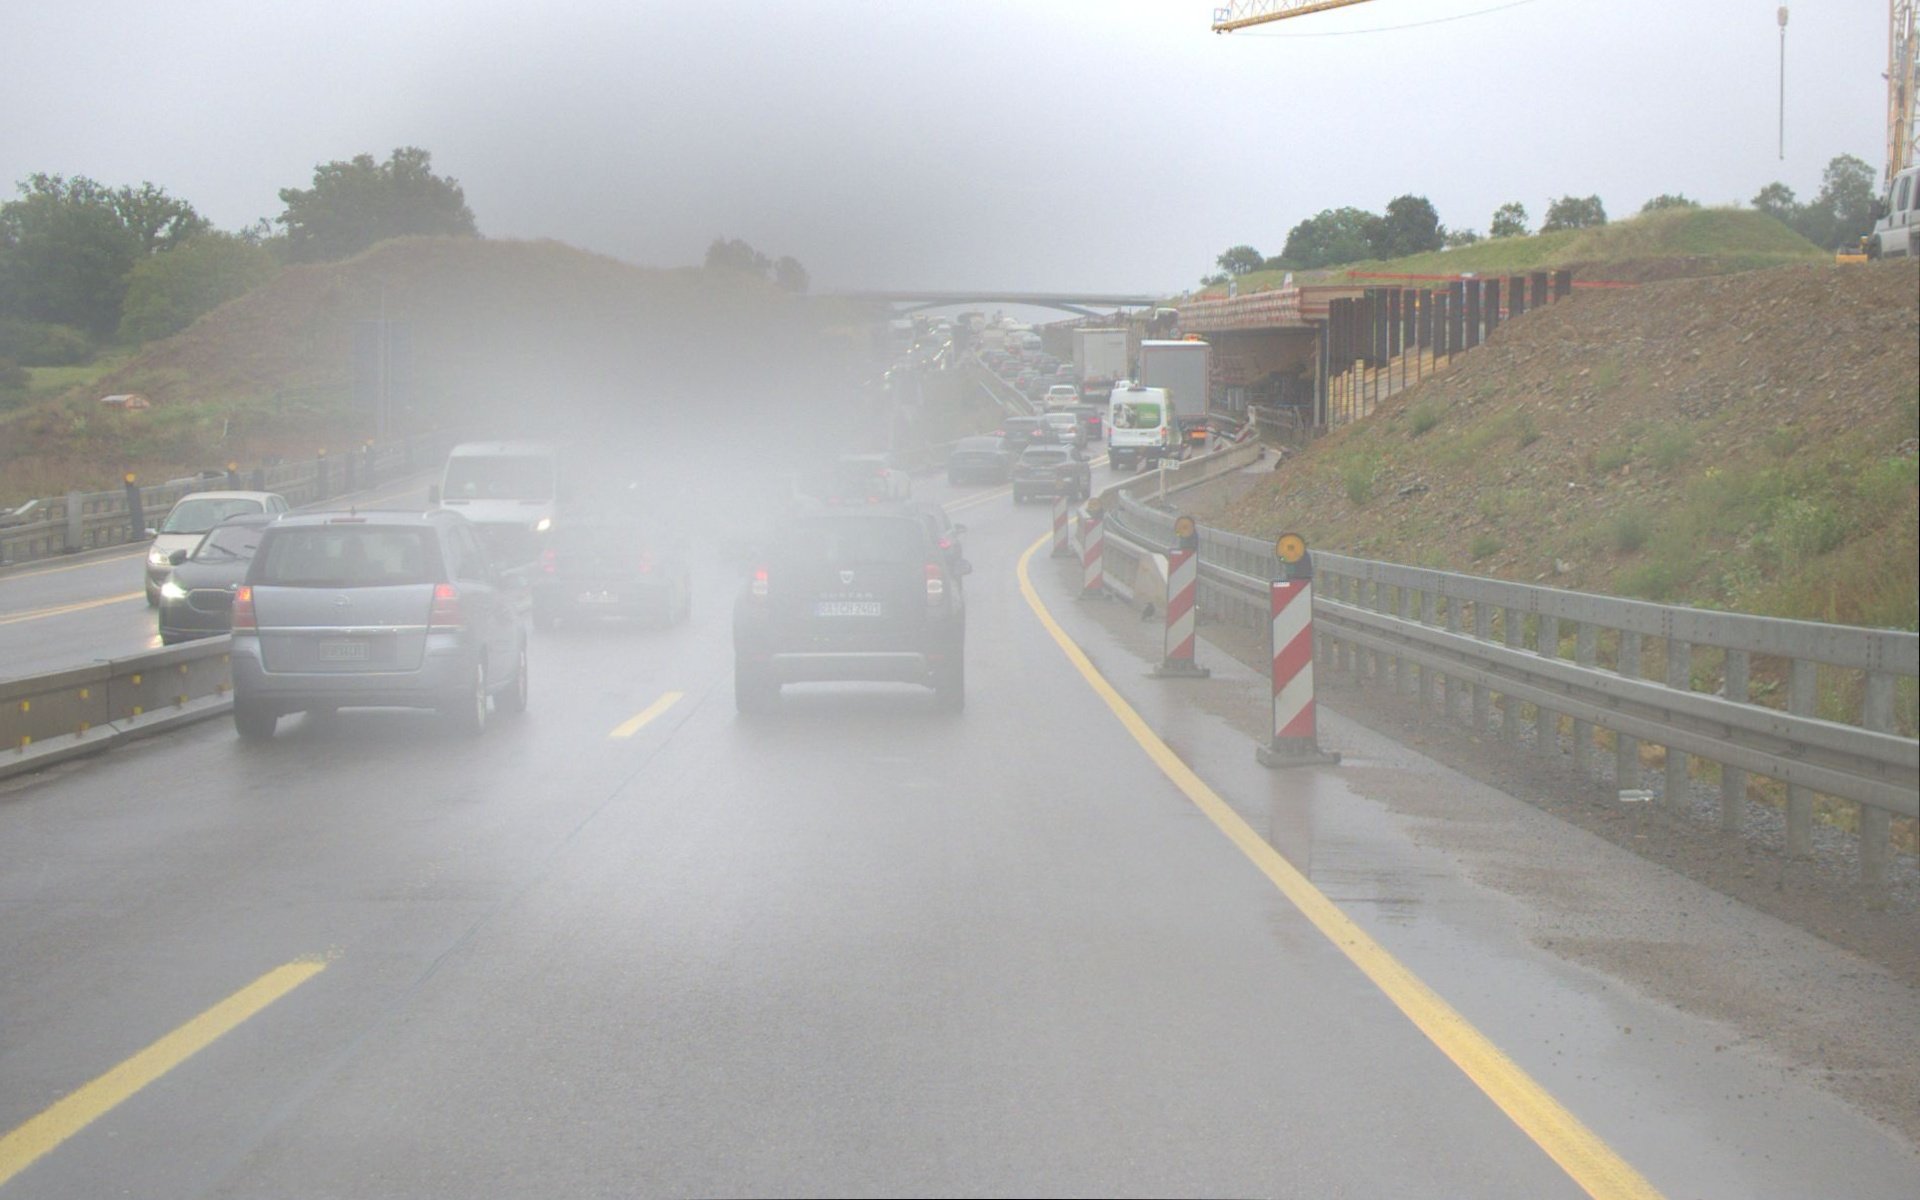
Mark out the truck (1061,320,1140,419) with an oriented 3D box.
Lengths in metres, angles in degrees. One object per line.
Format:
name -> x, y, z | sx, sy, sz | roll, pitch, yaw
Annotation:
truck -> 7.982, -13.154, 197.603 | 3.803, 5.025, 12.922 | 0, 1, -1

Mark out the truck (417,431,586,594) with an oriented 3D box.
truck -> -7.515, -1.415, 56.922 | 2.078, 2.567, 5.962 | 0, 1, -1

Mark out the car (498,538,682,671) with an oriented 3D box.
car -> -4.605, 0.026, 43.335 | 1.993, 1.595, 4.141 | 0, 1, -2

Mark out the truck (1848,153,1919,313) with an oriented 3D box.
truck -> 18.512, -6.761, 62.821 | 2.645, 2.546, 6.985 | 0, 1, -1

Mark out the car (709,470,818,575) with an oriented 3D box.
car -> -3.846, -1.506, 67.806 | 1.993, 2.007, 3.894 | 0, 1, -1

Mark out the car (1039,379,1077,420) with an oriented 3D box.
car -> 4.972, -10.188, 175.075 | 1.849, 1.887, 4.021 | 0, 1, 1

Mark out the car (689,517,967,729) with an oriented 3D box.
car -> -0.993, 0.147, 28.027 | 2.081, 1.595, 4.141 | 0, 1, 0

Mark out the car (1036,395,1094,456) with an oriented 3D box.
car -> 4.017, -6.646, 131.216 | 1.994, 2.155, 4.140 | 0, 1, 5

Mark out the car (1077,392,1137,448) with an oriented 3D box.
car -> 6.062, -7.380, 141.439 | 1.994, 2.155, 4.139 | 0, 1, 9

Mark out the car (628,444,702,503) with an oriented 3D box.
car -> -7.897, -3.407, 92.304 | 1.676, 1.518, 4.346 | -1, 2, -1

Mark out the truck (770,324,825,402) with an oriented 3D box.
truck -> -10.609, -15.480, 225.239 | 3.083, 4.902, 8.565 | 0, 3, 1

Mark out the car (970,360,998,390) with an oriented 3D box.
car -> 1.782, -16.762, 255.909 | 1.993, 2.007, 4.000 | 0, 1, -1

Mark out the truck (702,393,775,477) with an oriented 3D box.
truck -> -7.344, -5.487, 114.650 | 2.147, 2.704, 6.017 | 0, 2, -1

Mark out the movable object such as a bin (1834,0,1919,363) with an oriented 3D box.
movable object such as a bin -> 30.421, -13.288, 109.992 | 4.721, 10.805, 10.297 | 0, 1, 14

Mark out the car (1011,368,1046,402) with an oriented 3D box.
car -> 4.267, -13.404, 214.426 | 1.993, 2.006, 4.001 | -1, 2, -1

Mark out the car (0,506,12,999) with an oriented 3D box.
car -> -3.965, 0.546, 9.083 | 1.816, 1.595, 4.308 | 0, 1, -1

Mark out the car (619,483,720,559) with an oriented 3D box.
car -> -6.079, -1.678, 72.335 | 1.787, 1.533, 4.312 | -1, 2, 0

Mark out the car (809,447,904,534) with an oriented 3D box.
car -> -2.636, -2.797, 88.604 | 1.994, 2.155, 4.140 | 0, 1, 5

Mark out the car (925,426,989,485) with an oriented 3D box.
car -> -0.075, -4.508, 107.808 | 1.993, 1.755, 3.815 | 0, 1, 1

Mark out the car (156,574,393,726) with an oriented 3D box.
car -> -7.589, 0.506, 38.465 | 1.772, 1.499, 4.679 | -1, 1, -1

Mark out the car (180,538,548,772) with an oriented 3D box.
car -> -4.316, 0.347, 25.548 | 1.993, 1.595, 4.141 | 0, 1, 0

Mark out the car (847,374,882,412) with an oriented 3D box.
car -> -5.125, -11.111, 184.651 | 1.785, 1.803, 4.499 | 0, 1, 0

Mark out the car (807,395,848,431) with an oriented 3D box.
car -> -6.282, -8.921, 163.810 | 1.737, 1.678, 5.553 | 0, 3, 0

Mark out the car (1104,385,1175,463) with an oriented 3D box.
car -> 6.134, -5.952, 116.831 | 1.994, 2.475, 4.980 | 0, 1, 8

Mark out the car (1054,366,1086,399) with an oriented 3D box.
car -> 7.467, -14.730, 233.206 | 1.993, 2.007, 4.000 | 0, 1, -1

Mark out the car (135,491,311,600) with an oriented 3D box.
car -> -10.843, -0.835, 50.851 | 1.788, 1.541, 4.001 | 0, 2, -1

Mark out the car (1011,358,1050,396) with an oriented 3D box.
car -> 3.904, -12.344, 190.657 | 1.993, 2.006, 4.001 | -1, 2, -1

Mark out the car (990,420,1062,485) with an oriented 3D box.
car -> 2.326, -5.141, 120.085 | 1.994, 2.155, 4.139 | 0, 1, 8

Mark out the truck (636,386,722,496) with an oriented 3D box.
truck -> -10.430, -5.972, 128.289 | 2.641, 3.956, 9.215 | 0, 3, -1

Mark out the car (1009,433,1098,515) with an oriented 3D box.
car -> 2.627, -3.472, 95.496 | 1.994, 2.155, 4.139 | 0, 1, 8

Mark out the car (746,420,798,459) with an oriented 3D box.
car -> -7.170, -6.135, 131.617 | 1.868, 1.466, 4.672 | 0, 3, -1

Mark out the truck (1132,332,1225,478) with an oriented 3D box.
truck -> 8.741, -7.645, 136.780 | 3.102, 5.407, 9.440 | 0, 1, 7

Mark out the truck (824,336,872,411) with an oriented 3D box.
truck -> -8.341, -16.897, 257.094 | 3.142, 5.398, 8.524 | 0, 3, 1
